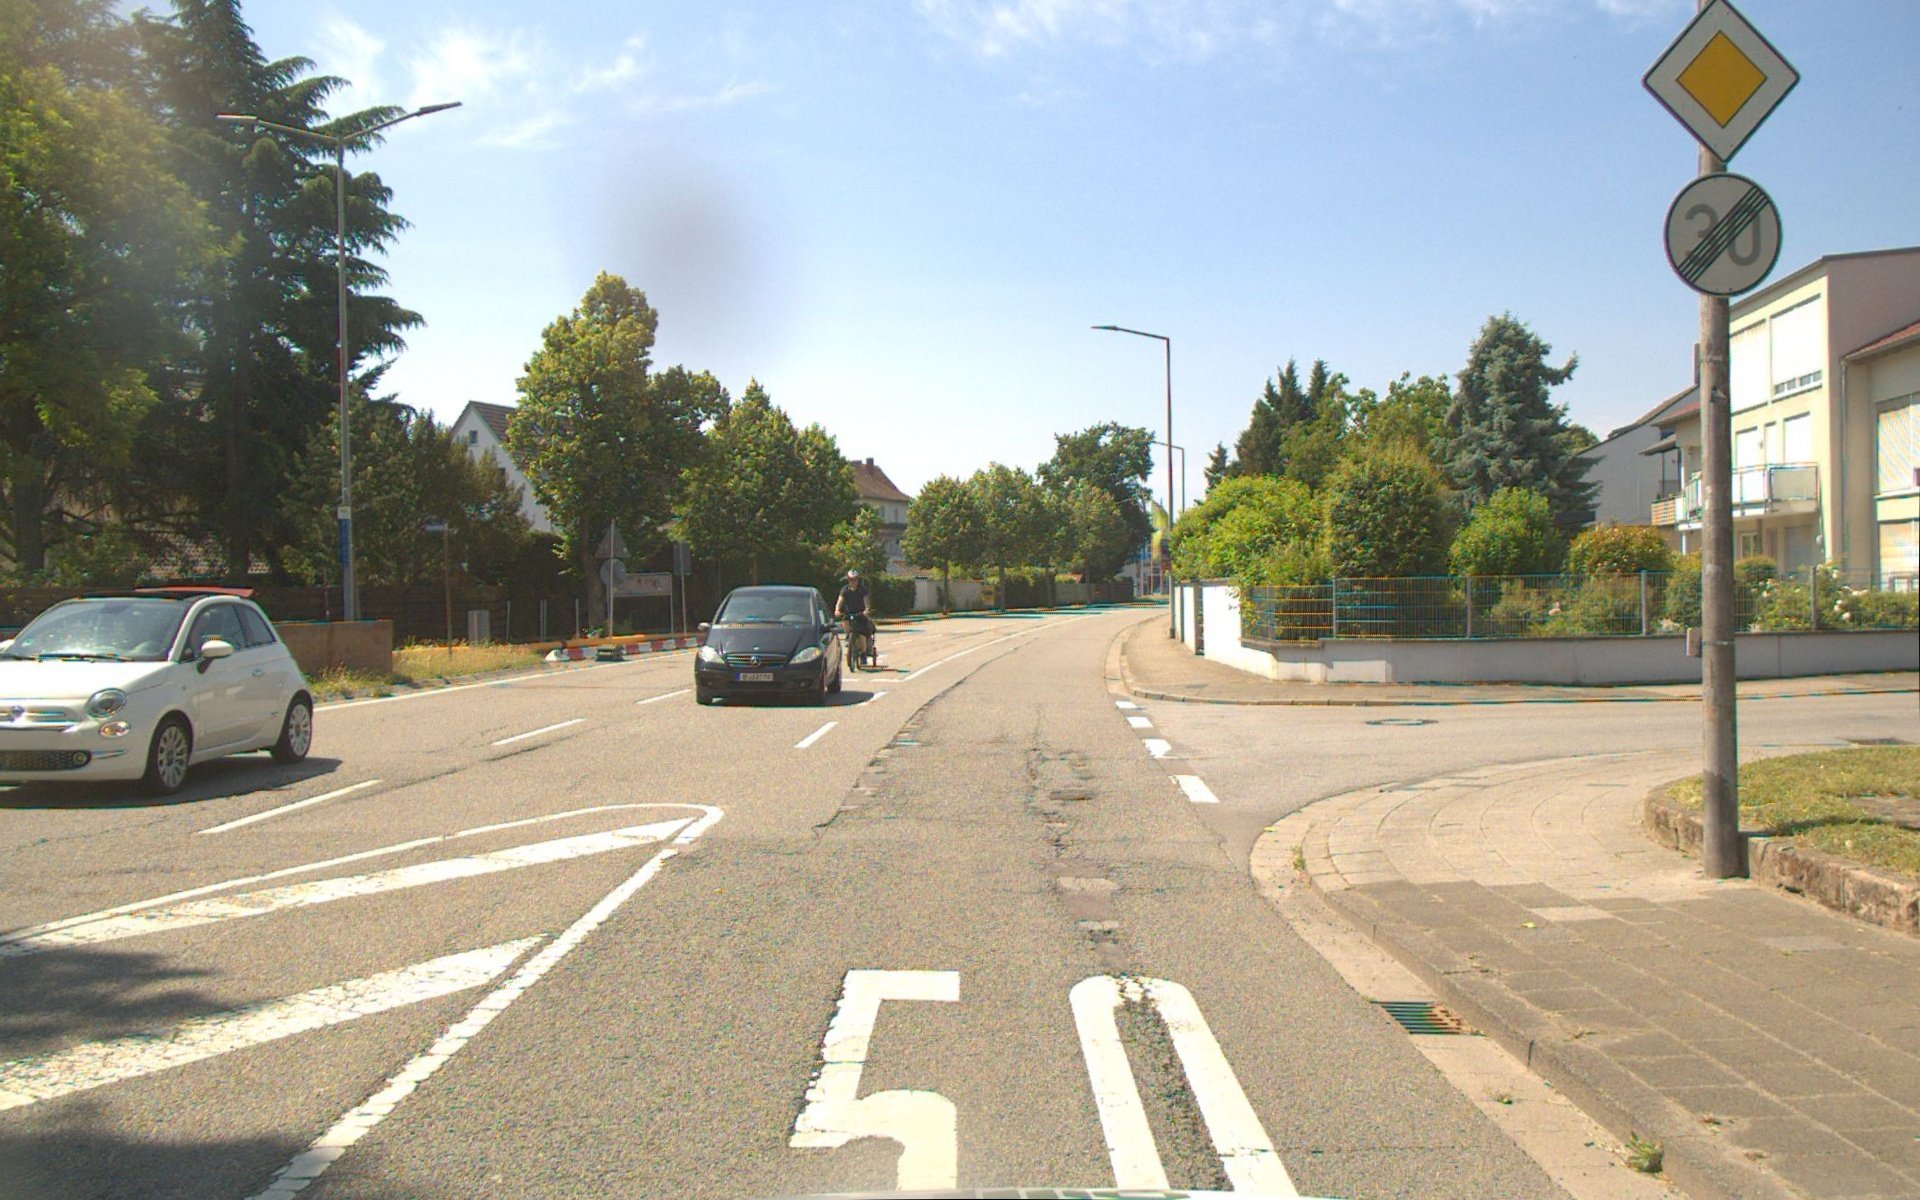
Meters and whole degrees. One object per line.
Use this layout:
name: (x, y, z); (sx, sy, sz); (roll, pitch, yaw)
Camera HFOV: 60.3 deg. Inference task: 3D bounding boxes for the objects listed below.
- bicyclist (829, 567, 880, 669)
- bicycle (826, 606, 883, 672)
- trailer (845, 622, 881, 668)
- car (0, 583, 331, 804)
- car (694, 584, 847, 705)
bicyclist: (-1.990, 0.334, 31.366); (0.828, 1.898, 0.977); (0, 0, 3)
bicycle: (-1.989, 0.723, 31.364); (0.832, 1.186, 1.978); (0, 0, 3)
trailer: (-1.923, 0.880, 32.923); (0.558, 0.871, 1.133); (-1, 0, 3)
car: (-6.581, 0.646, 13.325); (1.664, 1.536, 3.459); (0, 0, 1)
car: (-2.591, 0.575, 23.392); (1.690, 1.559, 3.830); (0, 0, 0)
